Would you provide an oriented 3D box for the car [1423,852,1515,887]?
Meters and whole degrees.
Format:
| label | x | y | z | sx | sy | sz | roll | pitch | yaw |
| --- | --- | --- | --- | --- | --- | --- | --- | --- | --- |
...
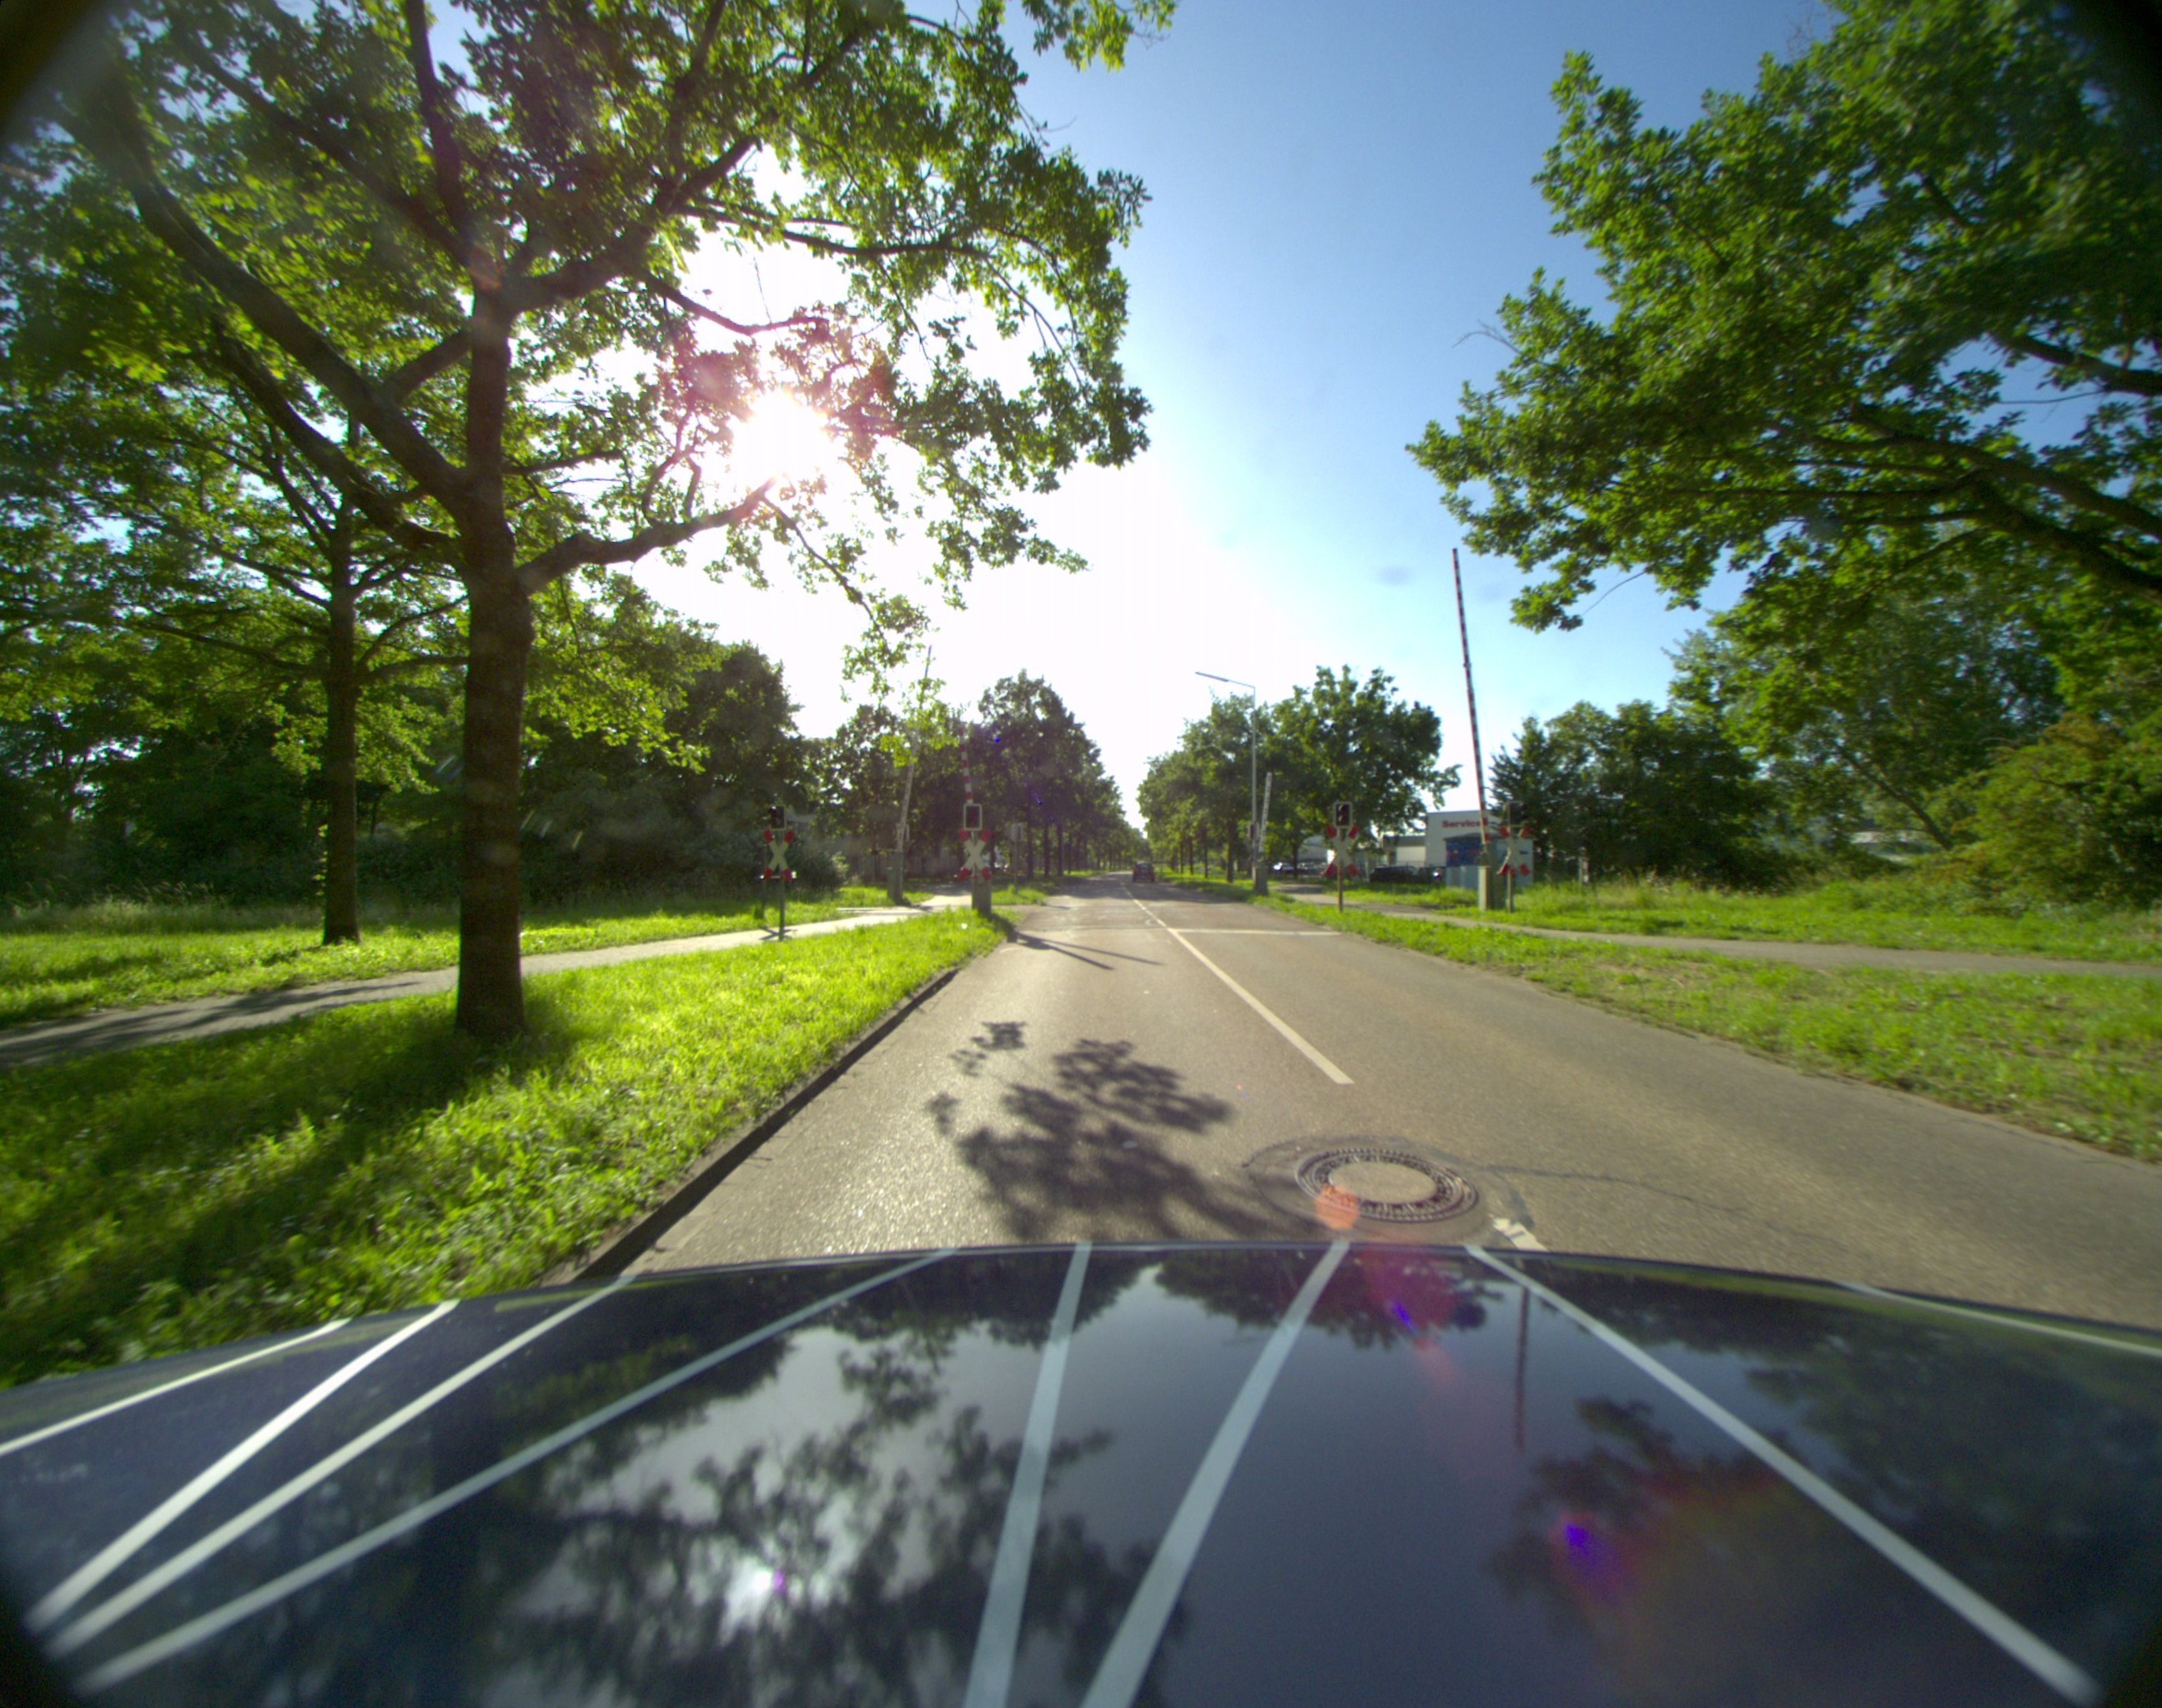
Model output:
| label | x | y | z | sx | sy | sz | roll | pitch | yaw |
| --- | --- | --- | --- | --- | --- | --- | --- | --- | --- |
| car | 22.228 | 0.879 | 43.597 | 4.201 | 1.791 | 2.000 | -2 | 0 | -1 |

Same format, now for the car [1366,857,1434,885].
| label | x | y | z | sx | sy | sz | roll | pitch | yaw |
| --- | --- | --- | --- | --- | --- | --- | --- | --- | --- |
| car | 22.736 | 1.184 | 54.222 | 3.998 | 1.791 | 1.999 | -2 | 0 | -3 |

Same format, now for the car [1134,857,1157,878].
| label | x | y | z | sx | sy | sz | roll | pitch | yaw |
| --- | --- | --- | --- | --- | --- | --- | --- | --- | --- |
| car | 4.947 | 1.027 | 58.457 | 1.569 | 1.495 | 4.001 | 1 | 0 | 3 |

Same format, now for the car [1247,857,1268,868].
| label | x | y | z | sx | sy | sz | roll | pitch | yaw |
| --- | --- | --- | --- | --- | --- | --- | --- | --- | --- |
| car | 23.918 | 1.105 | 103.143 | 2.569 | 1.461 | 1.428 | -1 | 0 | 22 |

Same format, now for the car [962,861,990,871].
| label | x | y | z | sx | sy | sz | roll | pitch | yaw |
| --- | --- | --- | --- | --- | --- | --- | --- | --- | --- |
| car | -20.637 | 2.314 | 149.448 | 5.074 | 1.947 | 1.895 | 0 | 0 | 2 |

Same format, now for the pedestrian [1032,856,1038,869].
| label | x | y | z | sx | sy | sz | roll | pitch | yaw |
| --- | --- | --- | --- | --- | --- | --- | --- | --- | --- |
| pedestrian | -5.537 | 1.043 | 92.152 | 0.609 | 1.621 | 0.719 | 2 | 0 | 6 |
